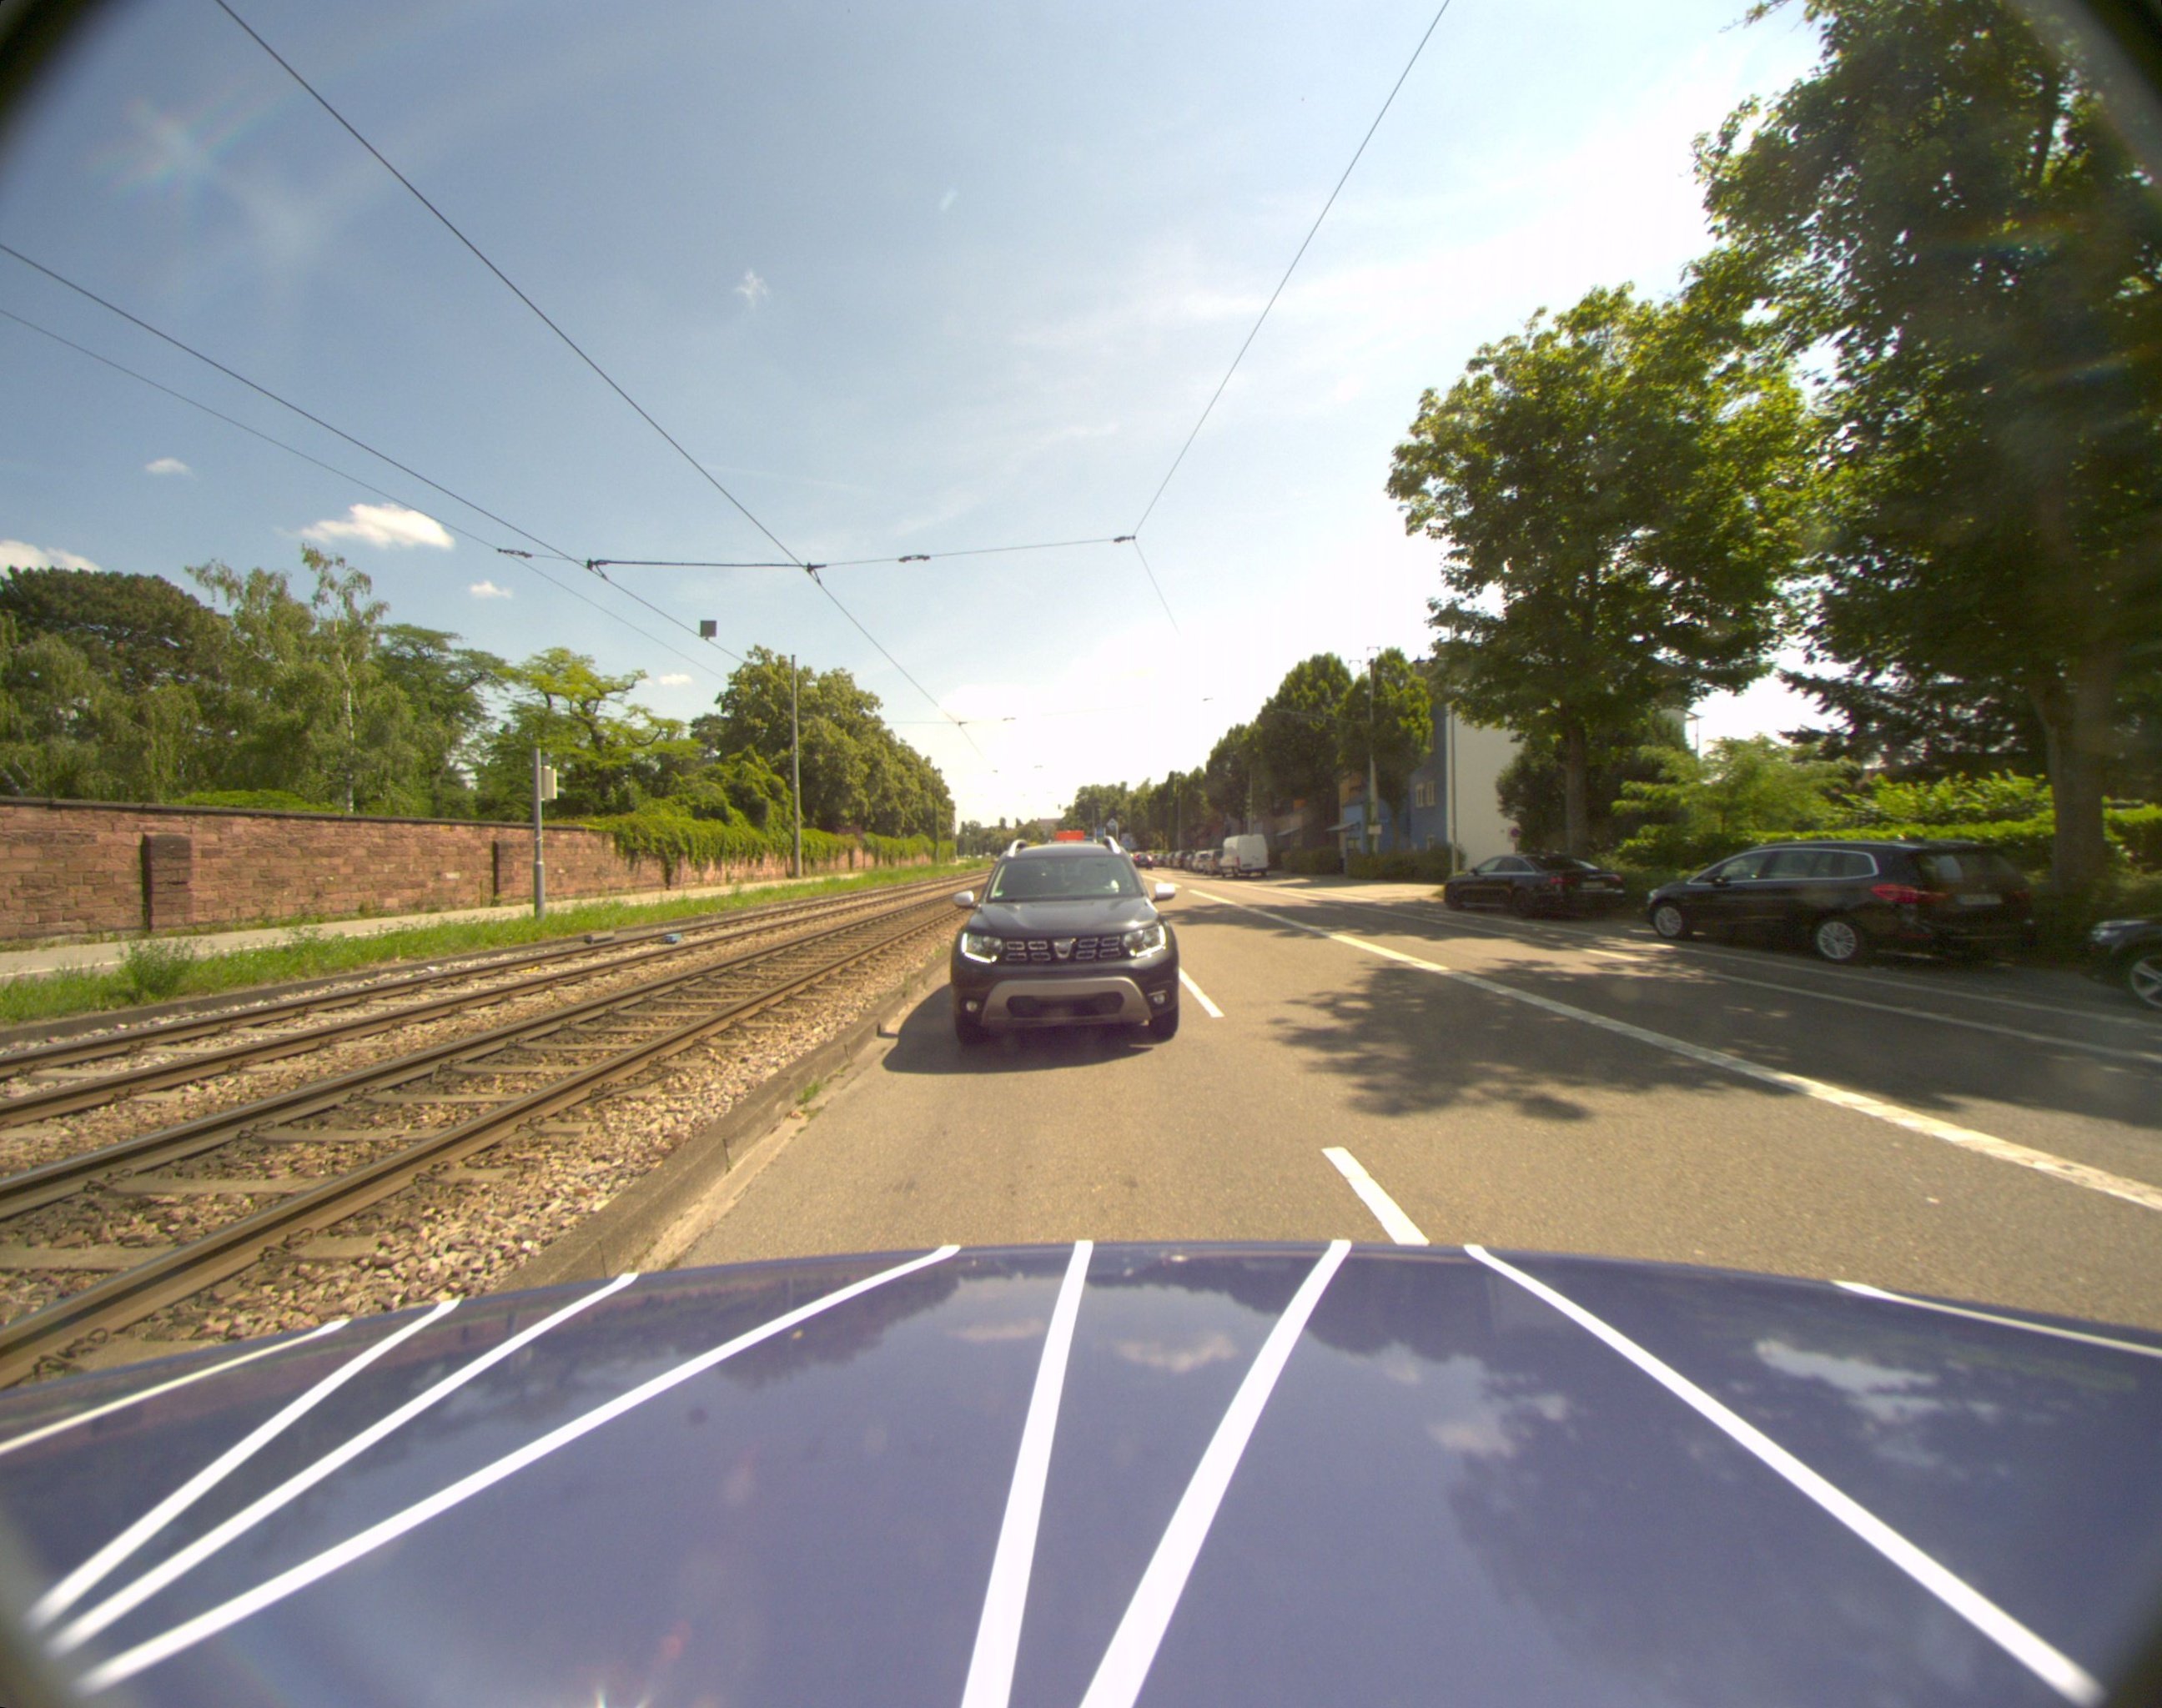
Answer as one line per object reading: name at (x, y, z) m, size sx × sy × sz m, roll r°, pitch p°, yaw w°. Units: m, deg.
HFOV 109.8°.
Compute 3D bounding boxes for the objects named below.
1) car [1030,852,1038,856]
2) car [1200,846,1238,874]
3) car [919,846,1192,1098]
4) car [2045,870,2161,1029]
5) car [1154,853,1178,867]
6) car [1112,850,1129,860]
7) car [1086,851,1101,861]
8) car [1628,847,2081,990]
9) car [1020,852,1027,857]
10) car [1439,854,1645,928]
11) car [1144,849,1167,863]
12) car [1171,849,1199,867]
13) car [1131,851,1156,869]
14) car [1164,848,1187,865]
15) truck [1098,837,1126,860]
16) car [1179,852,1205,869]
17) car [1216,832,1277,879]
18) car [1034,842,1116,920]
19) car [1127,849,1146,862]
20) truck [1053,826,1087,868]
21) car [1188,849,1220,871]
car at (-15.053, 0.036, 243.449) m, size 2.000 × 1.379 × 3.997 m, roll 0°, pitch 0°, yaw -8°
car at (10.375, 0.429, 57.400) m, size 1.811 × 1.884 × 5.361 m, roll -3°, pitch 0°, yaw 0°
car at (-0.203, 0.784, 7.577) m, size 1.802 × 1.652 × 4.786 m, roll -2°, pitch 1°, yaw -1°
car at (10.674, 0.869, 5.325) m, size 1.779 × 1.365 × 4.696 m, roll -3°, pitch 0°, yaw -2°
car at (9.424, 0.598, 84.871) m, size 1.746 × 1.438 × 4.961 m, roll -2°, pitch 0°, yaw -5°
car at (5.744, 0.165, 110.481) m, size 1.661 × 1.402 × 4.394 m, roll 0°, pitch 0°, yaw -8°
car at (1.846, 0.308, 115.891) m, size 1.780 × 1.451 × 4.192 m, roll 1°, pitch 0°, yaw -7°
car at (10.570, 0.730, 11.050) m, size 1.779 × 1.595 × 4.636 m, roll -2°, pitch 0°, yaw -2°
car at (-18.031, 0.100, 238.968) m, size 2.000 × 1.379 × 3.997 m, roll 0°, pitch 0°, yaw -8°
car at (10.445, 0.744, 17.737) m, size 1.779 × 1.447 × 4.803 m, roll -1°, pitch 0°, yaw -2°
car at (8.899, 0.229, 91.006) m, size 1.660 × 1.500 × 4.892 m, roll -4°, pitch 1°, yaw -6°
car at (10.012, 0.375, 73.454) m, size 1.756 × 1.706 × 4.886 m, roll 0°, pitch 0°, yaw -3°
car at (5.336, 0.493, 65.157) m, size 1.682 × 1.390 × 4.004 m, roll 2°, pitch 0°, yaw -2°
car at (9.807, 0.243, 78.897) m, size 1.660 × 1.608 × 4.283 m, roll 0°, pitch 1°, yaw -3°
truck at (4.861, -0.857, 122.419) m, size 2.840 × 3.528 × 8.164 m, roll -3°, pitch 0°, yaw -9°
car at (9.932, 0.546, 68.330) m, size 1.603 × 1.462 × 4.086 m, roll -1°, pitch 0°, yaw -2°
car at (10.579, 0.070, 49.271) m, size 2.329 × 2.635 × 7.034 m, roll -5°, pitch 0°, yaw 1°
car at (-0.154, 0.590, 19.329) m, size 1.801 × 1.683 × 4.143 m, roll -2°, pitch 1°, yaw -1°
car at (7.419, 0.184, 102.140) m, size 1.661 × 1.600 × 4.170 m, roll -1°, pitch 0°, yaw -9°
truck at (-1.125, -0.670, 70.659) m, size 2.846 × 3.574 × 8.702 m, roll -1°, pitch 1°, yaw -3°
car at (10.176, 0.460, 63.051) m, size 1.721 × 1.742 × 4.902 m, roll 0°, pitch 0°, yaw -1°
